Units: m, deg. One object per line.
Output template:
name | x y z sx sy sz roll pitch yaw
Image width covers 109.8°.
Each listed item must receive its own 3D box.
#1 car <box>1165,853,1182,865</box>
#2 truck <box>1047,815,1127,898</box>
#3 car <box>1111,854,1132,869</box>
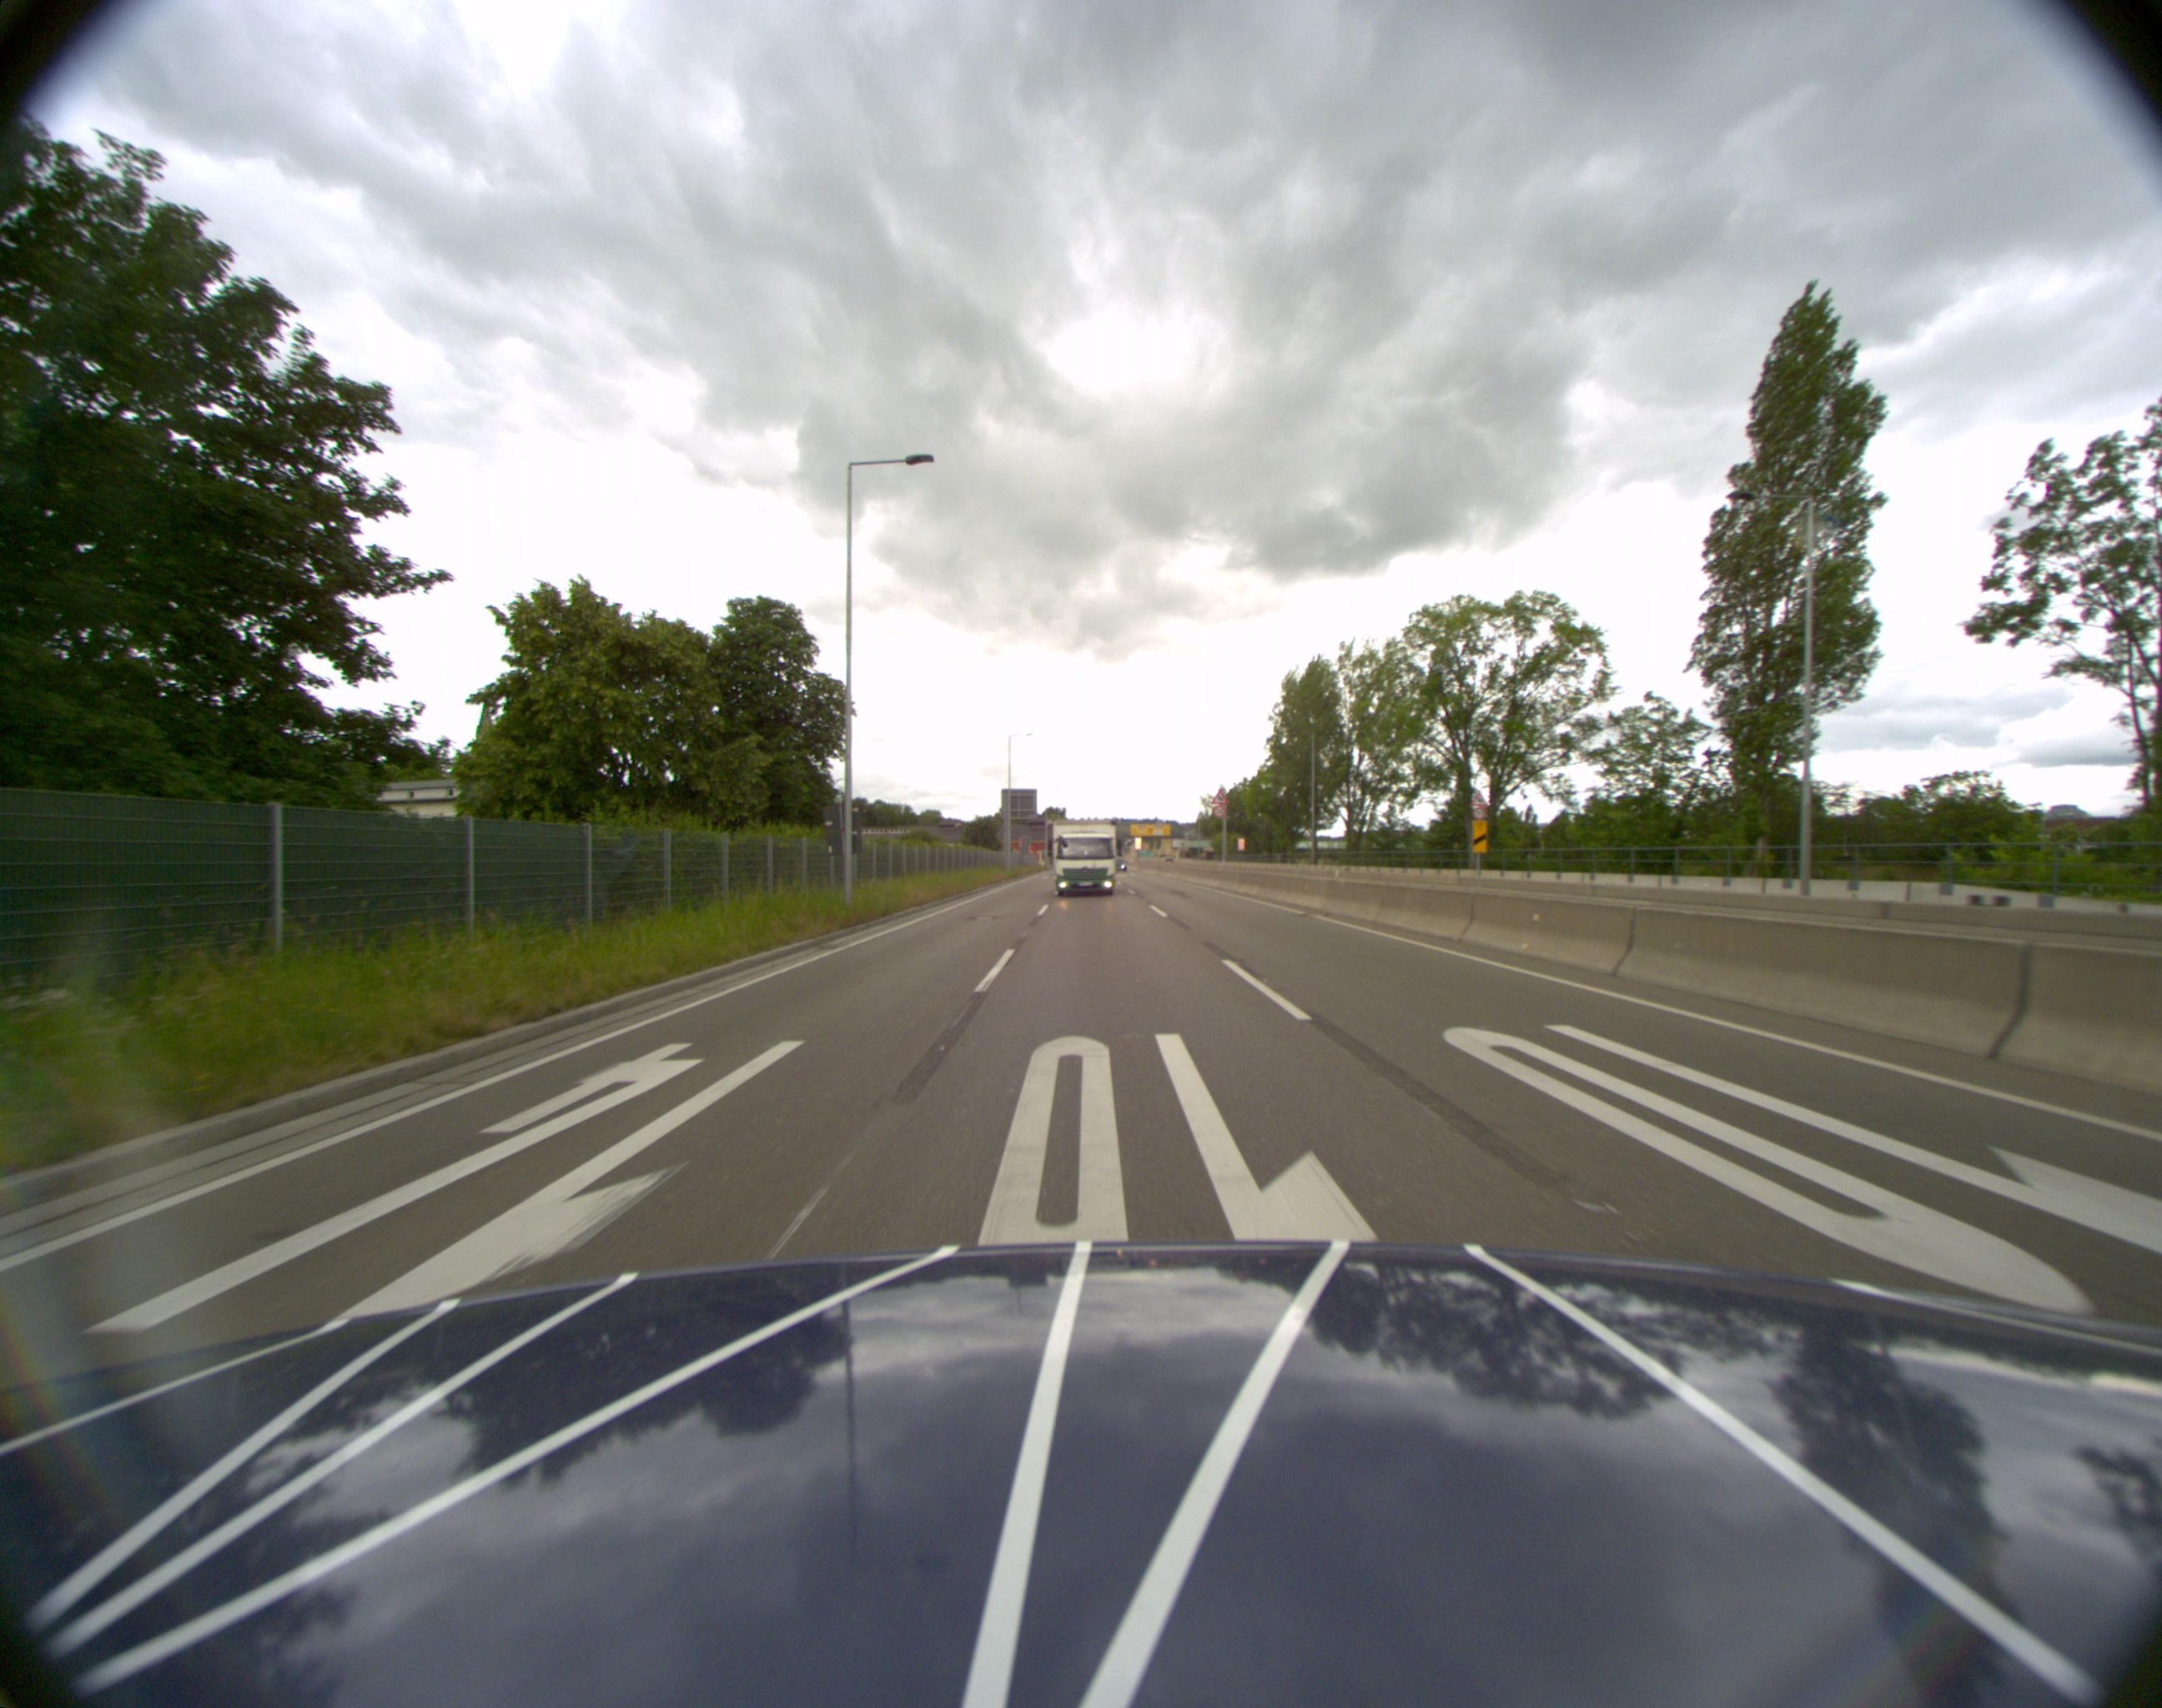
car | 15.275 0.782 125.894 2.335 1.914 5.002 -2 0 1
truck | 0.211 0.093 33.155 2.943 3.064 8.386 -2 0 0
car | 4.225 0.813 79.775 1.998 1.444 4.000 -2 0 1
